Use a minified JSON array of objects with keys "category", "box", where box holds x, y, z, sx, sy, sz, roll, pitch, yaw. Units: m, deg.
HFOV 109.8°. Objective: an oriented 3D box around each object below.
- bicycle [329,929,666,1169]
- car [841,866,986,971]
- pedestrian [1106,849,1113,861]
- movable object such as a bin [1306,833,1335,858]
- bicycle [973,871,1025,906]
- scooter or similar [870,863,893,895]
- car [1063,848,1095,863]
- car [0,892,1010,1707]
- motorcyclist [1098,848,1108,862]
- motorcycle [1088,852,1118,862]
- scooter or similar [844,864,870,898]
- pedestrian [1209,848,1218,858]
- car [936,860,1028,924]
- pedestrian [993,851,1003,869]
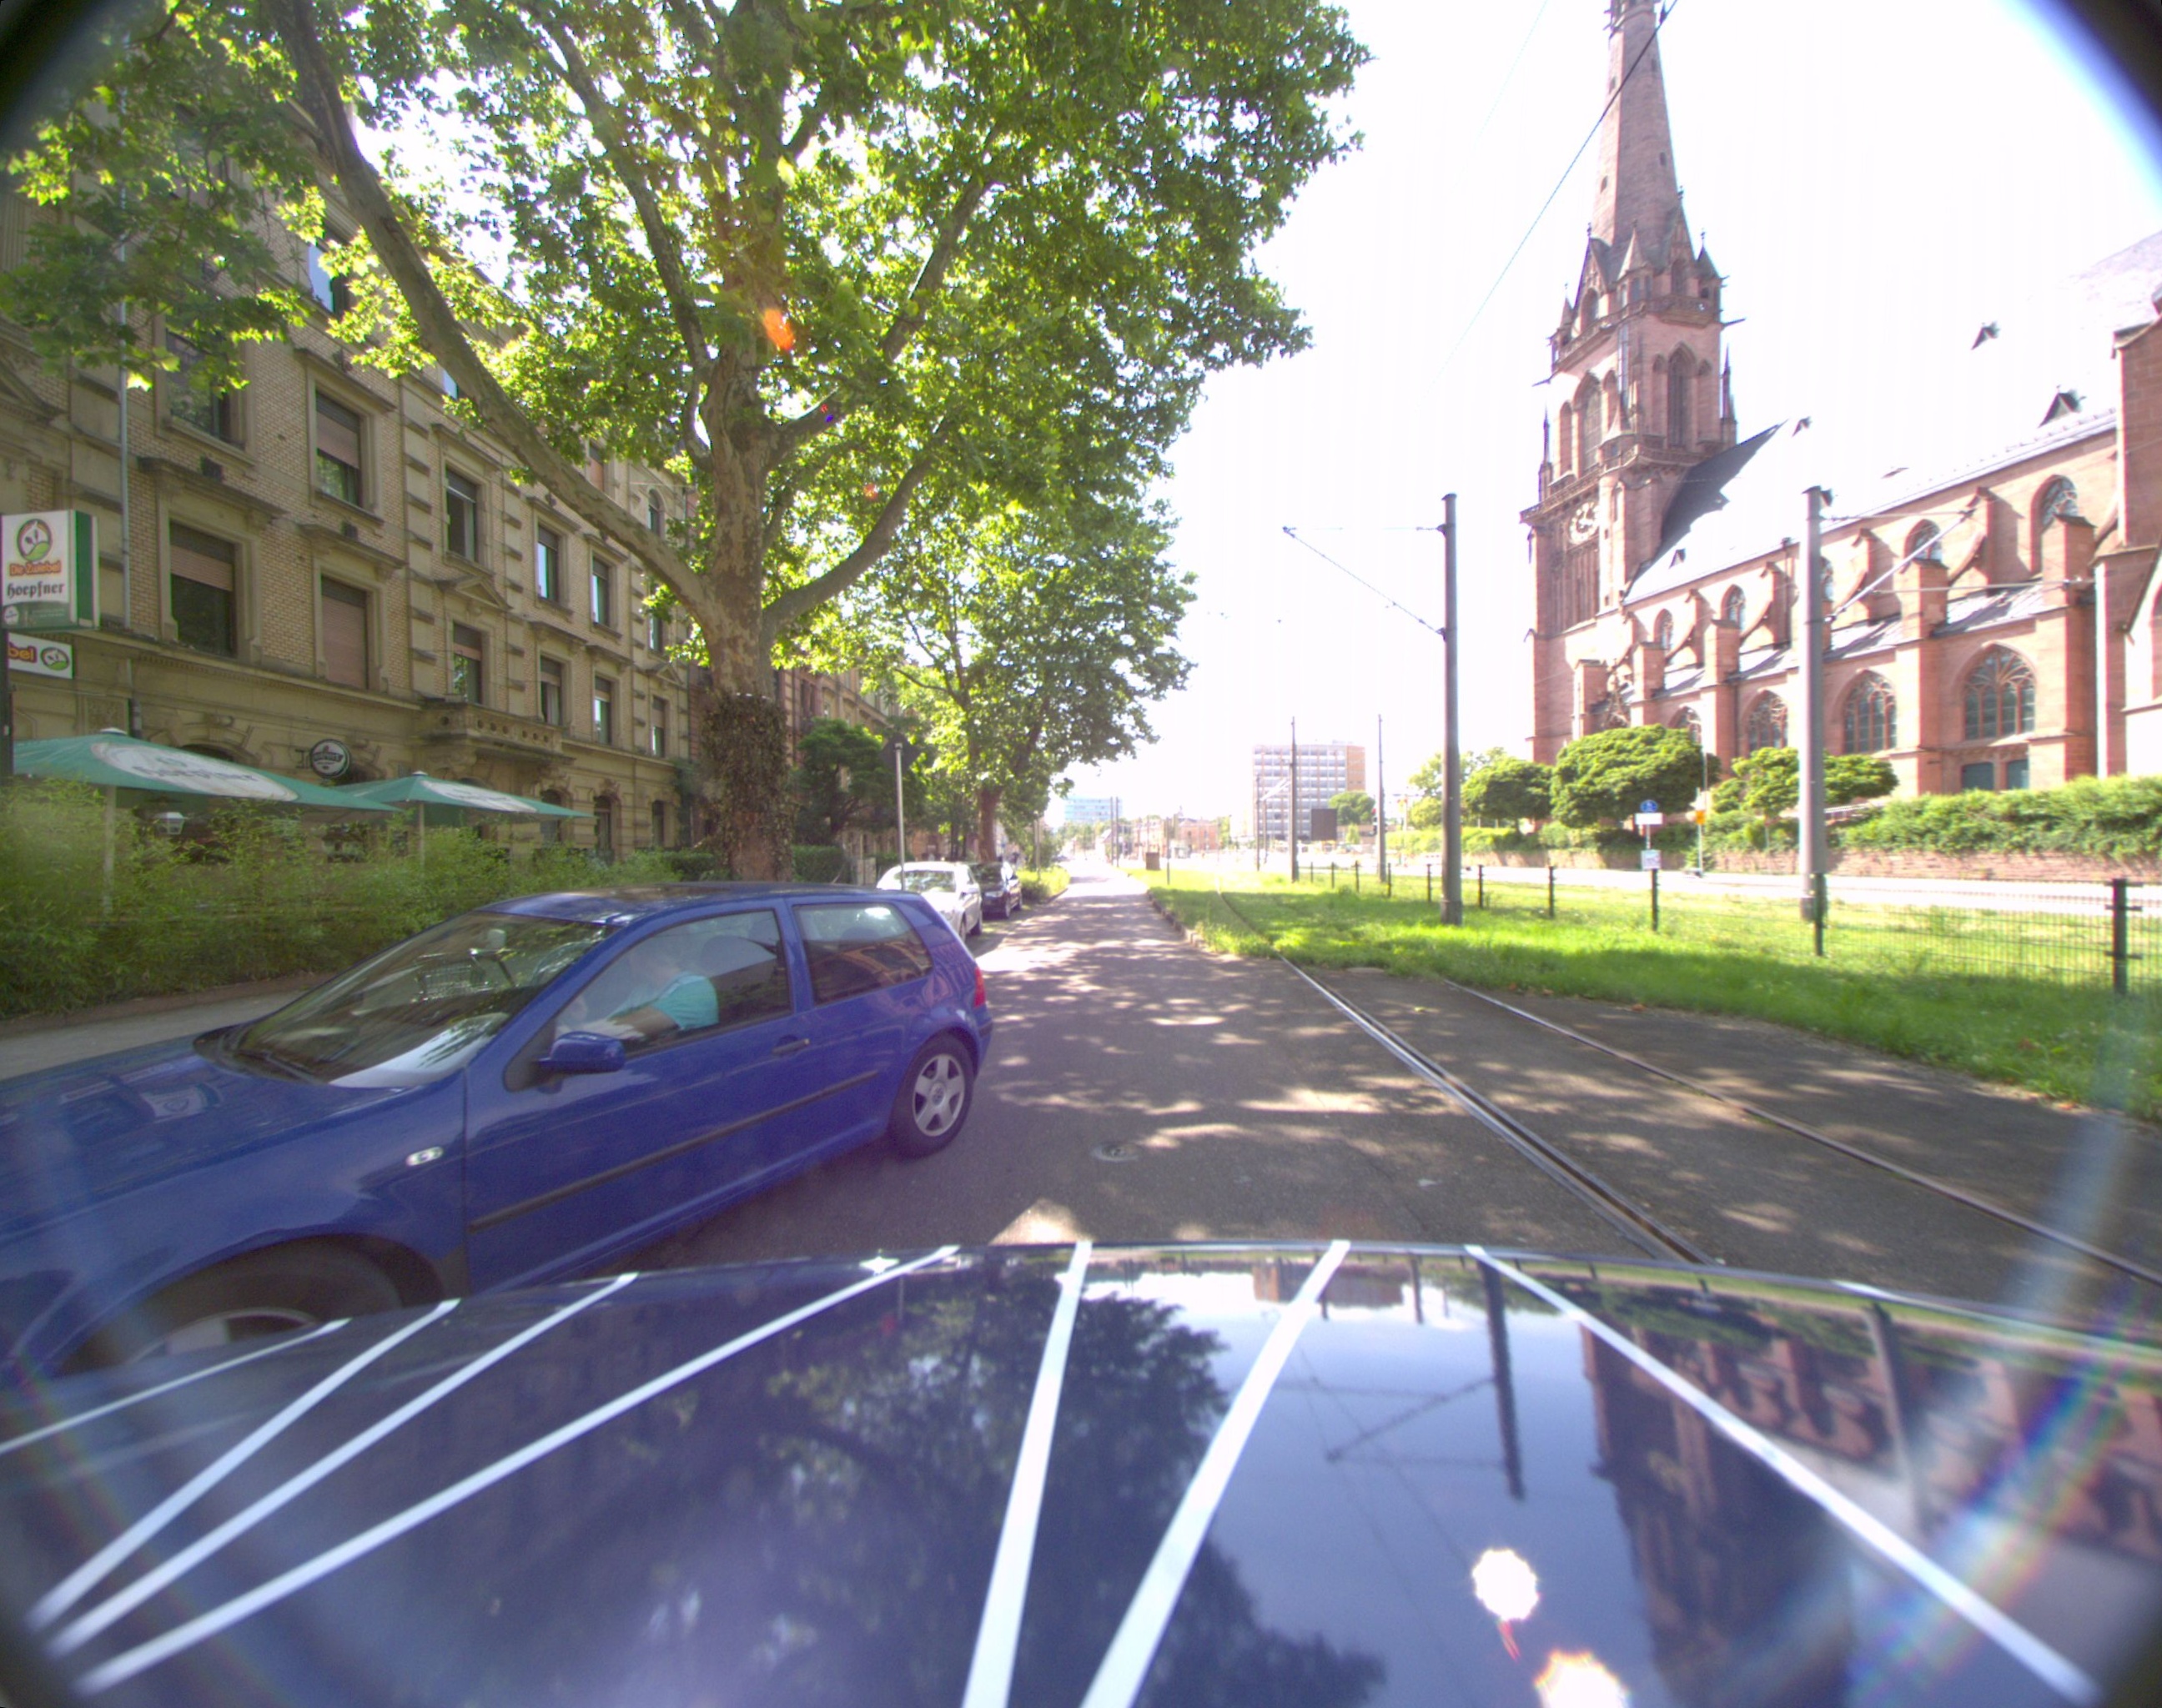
[{"category":"bicycle","box":[-3.567,1.112,4.812,0.421,1.099,1.619,-1,1,33]},{"category":"car","box":[-2.846,1.024,13.924,1.838,1.499,4.490,-1,0,-3]},{"category":"pedestrian","box":[3.881,0.166,104.442,0.850,1.644,1.128,-1,1,1]},{"category":"movable object such as a bin","box":[37.691,-1.302,119.685,3.340,3.859,2.932,-1,1,-33]},{"category":"bicycle","box":[-2.703,1.111,25.036,1.641,1.082,0.470,-1,1,-32]},{"category":"scooter or similar","box":[-8.254,1.007,31.443,0.583,1.275,1.145,-1,1,3]},{"category":"car","box":[-0.209,0.169,103.342,3.993,2.002,2.002,-1,1,11]},{"category":"car","box":[-2.147,0.999,3.049,1.883,1.402,4.100,1,1,25]},{"category":"motorcyclist","box":[3.147,0.134,107.154,1.108,1.919,1.332,-1,1,-12]},{"category":"motorcycle","box":[3.123,0.360,107.157,3.938,1.331,1.243,-1,1,-12]},{"category":"scooter or similar","box":[-8.453,1.008,28.721,0.583,1.240,1.145,-1,1,1]},{"category":"pedestrian","box":[24.899,-0.142,142.917,1.426,1.796,1.422,-1,1,-3]},{"category":"car","box":[-2.607,0.970,21.094,1.838,1.499,4.643,-1,0,1]},{"category":"pedestrian","box":[-8.109,0.543,74.049,0.797,1.708,0.967,-1,1,0]}]
